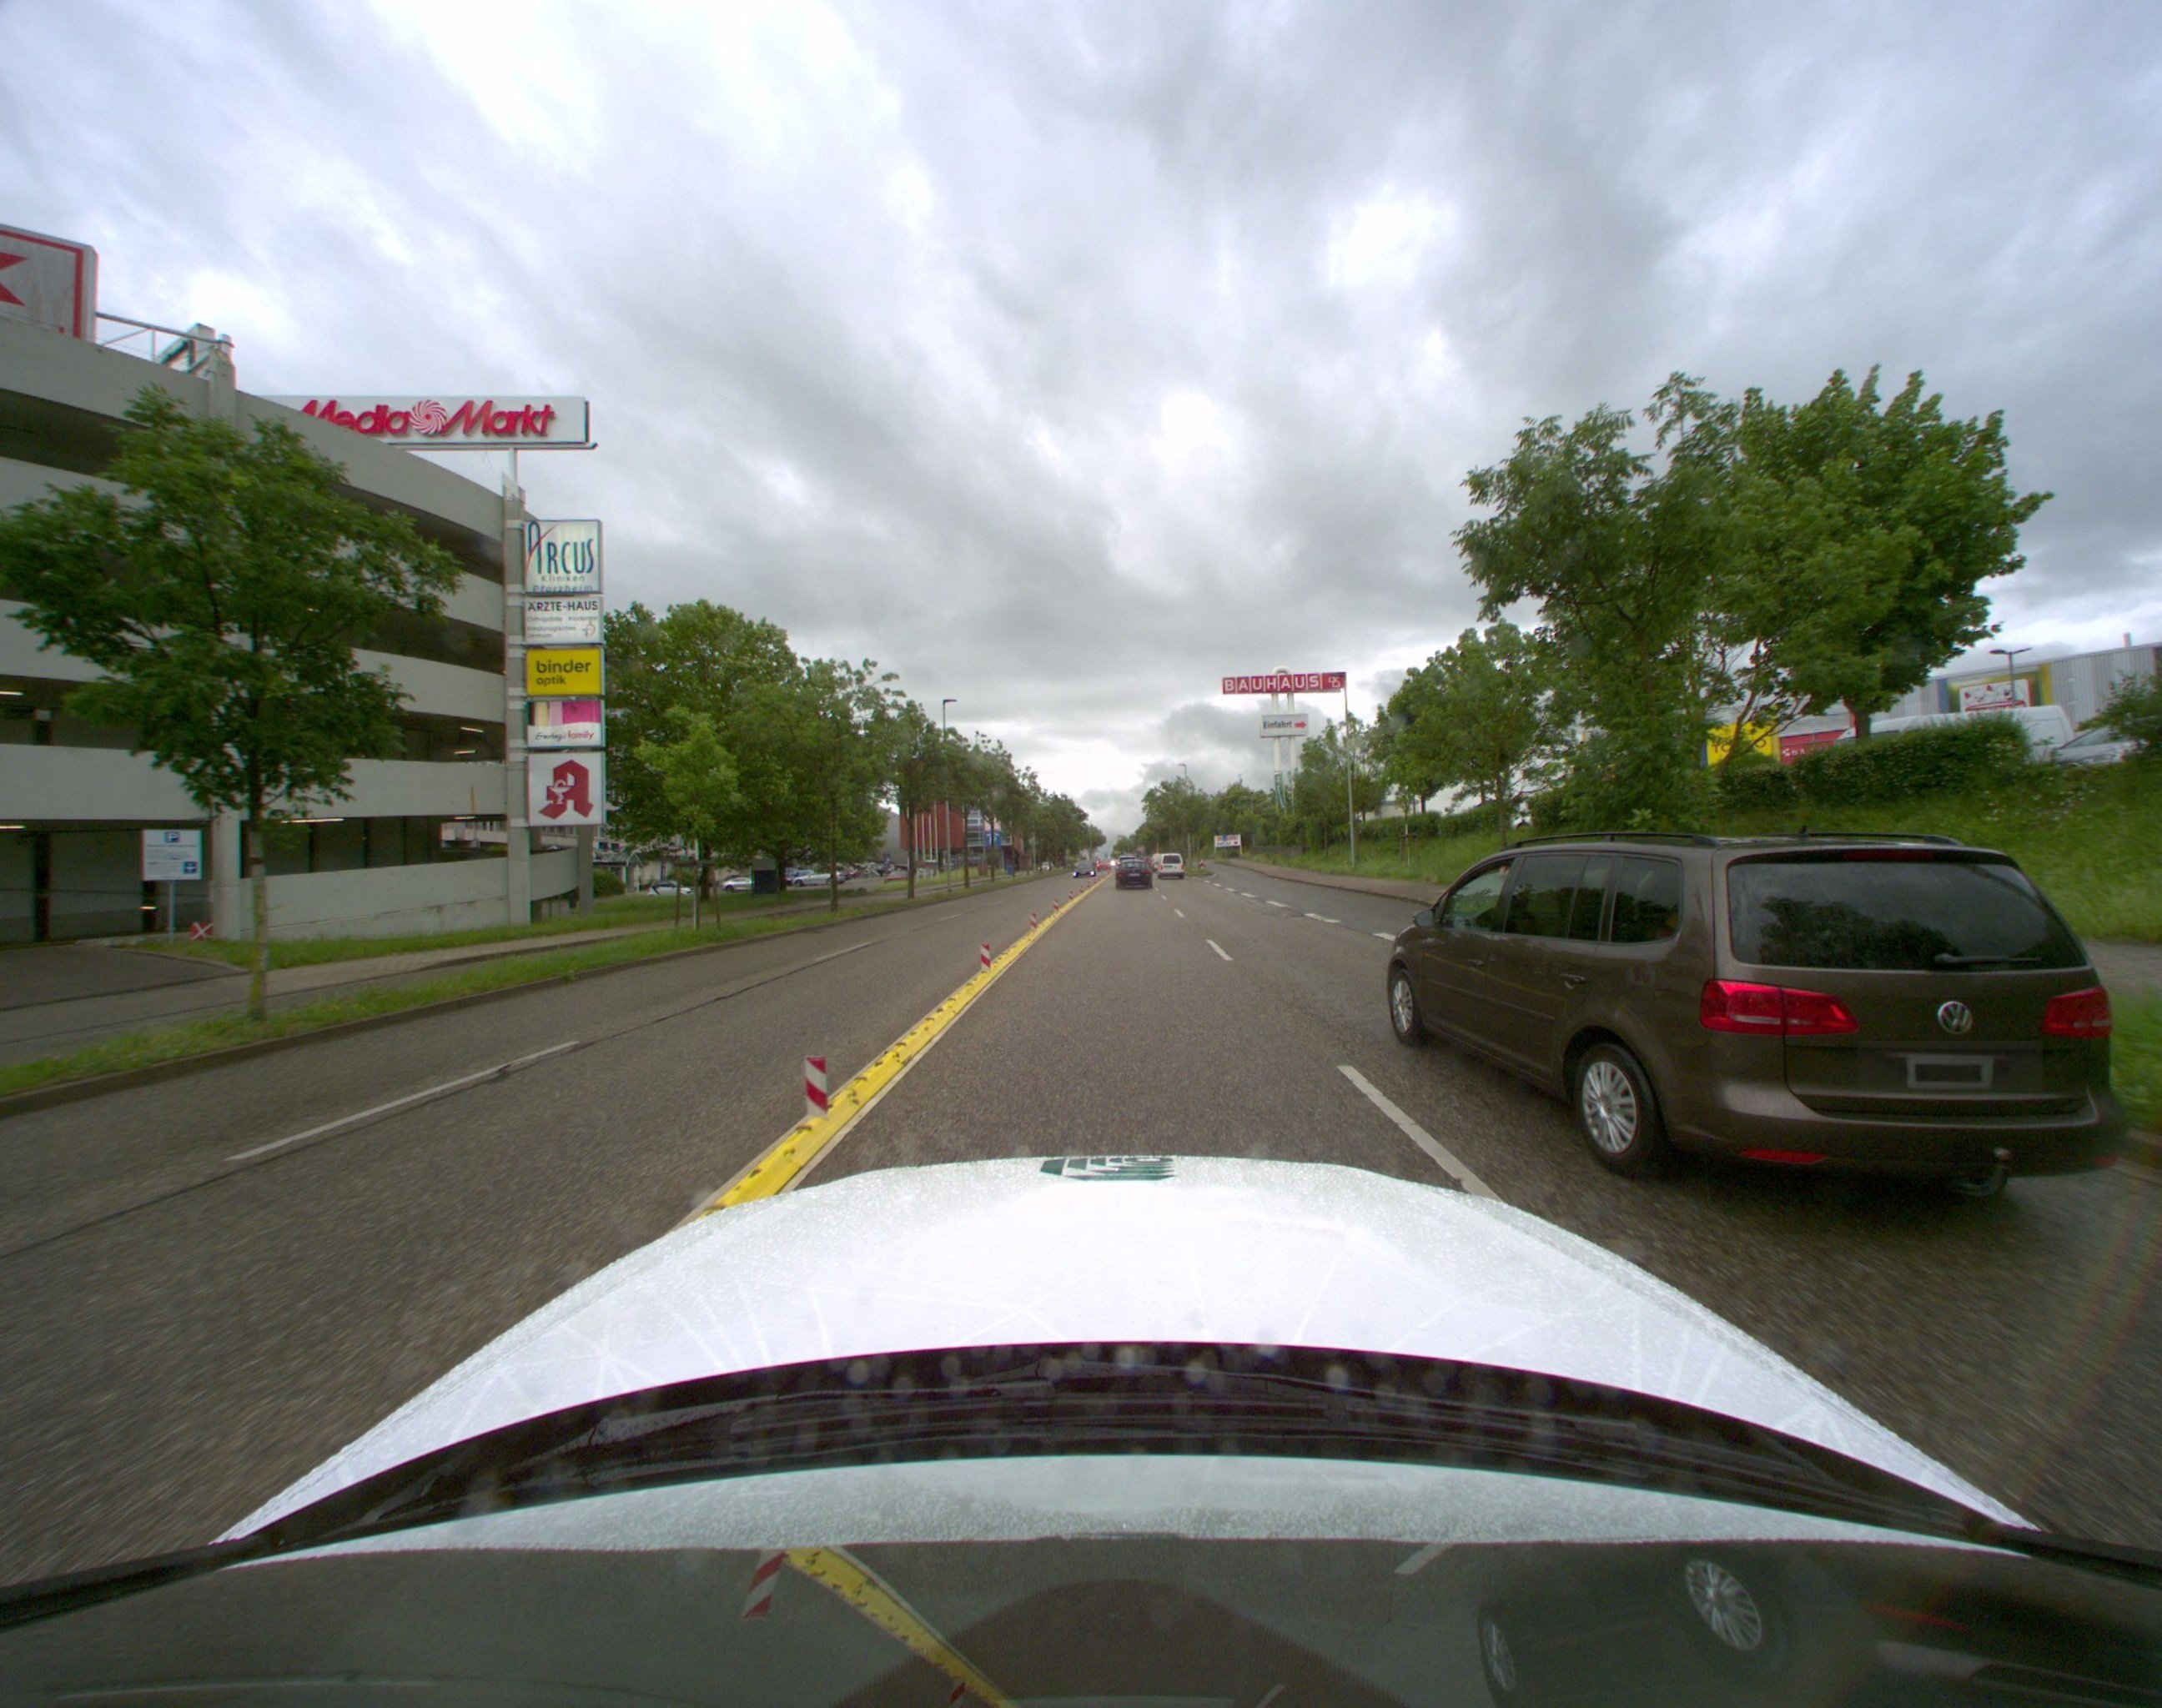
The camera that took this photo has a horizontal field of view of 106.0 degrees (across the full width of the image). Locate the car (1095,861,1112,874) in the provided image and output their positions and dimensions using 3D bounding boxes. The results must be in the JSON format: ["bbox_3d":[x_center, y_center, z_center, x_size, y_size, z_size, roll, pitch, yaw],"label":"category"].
[{"bbox_3d":[2.753,1.682,100.717,1.754,1.425,4.186,-3,0,5],"label":"car"}]

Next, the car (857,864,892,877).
[{"bbox_3d":[-26.544,2.097,104.930,4.102,1.510,1.816,-1,1,-5],"label":"car"}]

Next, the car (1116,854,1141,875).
[{"bbox_3d":[3.611,0.825,61.529,1.786,1.510,4.003,0,-1,3],"label":"car"}]

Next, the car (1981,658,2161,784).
[{"bbox_3d":[22.780,-2.898,17.098,5.598,2.142,2.118,-5,-1,-5],"label":"car"}]

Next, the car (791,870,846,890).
[{"bbox_3d":[-24.900,2.463,77.509,4.591,1.745,1.964,-1,1,-5],"label":"car"}]

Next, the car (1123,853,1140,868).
[{"bbox_3d":[5.355,0.728,86.509,1.787,1.510,4.002,0,-1,2],"label":"car"}]

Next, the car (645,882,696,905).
[{"bbox_3d":[-29.038,2.791,57.678,2.693,1.365,1.606,-4,1,-7],"label":"car"}]

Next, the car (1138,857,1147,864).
[{"bbox_3d":[13.226,1.345,176.317,1.787,1.510,4.001,0,-1,2],"label":"car"}]

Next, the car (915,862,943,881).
[{"bbox_3d":[-16.169,1.814,86.943,2.032,1.762,4.946,-1,1,0],"label":"car"}]

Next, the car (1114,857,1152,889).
[{"bbox_3d":[2.672,0.916,41.561,1.819,1.468,4.004,-2,0,4],"label":"car"}]

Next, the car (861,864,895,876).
[{"bbox_3d":[-26.660,2.106,107.165,4.102,1.510,1.816,-1,1,-5],"label":"car"}]

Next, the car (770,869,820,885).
[{"bbox_3d":[-30.216,2.460,86.149,4.603,1.510,2.022,-1,1,-5],"label":"car"}]

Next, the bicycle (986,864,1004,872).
[{"bbox_3d":[-11.198,1.848,105.657,2.065,0.935,1.096,2,-1,7],"label":"bicycle"}]

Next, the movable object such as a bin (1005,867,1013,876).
[{"bbox_3d":[-9.384,2.259,106.732,0.815,1.079,1.087,2,0,4],"label":"movable object such as a bin"}]

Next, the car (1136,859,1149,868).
[{"bbox_3d":[10.270,1.655,136.266,1.788,1.510,4.000,0,-1,0],"label":"car"}]

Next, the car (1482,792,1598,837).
[{"bbox_3d":[21.743,-1.862,38.690,4.337,1.629,1.926,-5,-1,-3],"label":"car"}]

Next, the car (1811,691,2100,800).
[{"bbox_3d":[23.170,-2.831,21.707,5.598,2.142,2.118,-5,-1,-5],"label":"car"}]

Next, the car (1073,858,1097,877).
[{"bbox_3d":[0.390,1.174,71.696,1.819,1.466,4.620,-3,0,3],"label":"car"}]

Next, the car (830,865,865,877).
[{"bbox_3d":[-31.321,2.263,109.365,4.102,1.510,1.816,-1,1,-5],"label":"car"}]

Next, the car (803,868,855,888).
[{"bbox_3d":[-24.804,2.331,80.179,4.492,1.745,1.897,-1,1,-5],"label":"car"}]

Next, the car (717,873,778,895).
[{"bbox_3d":[-29.473,2.650,72.104,4.597,1.745,1.961,-1,1,-9],"label":"car"}]

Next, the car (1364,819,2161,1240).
[{"bbox_3d":[3.342,0.660,5.188,1.679,1.581,4.219,0,0,1],"label":"car"}]

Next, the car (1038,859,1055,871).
[{"bbox_3d":[-4.927,1.615,116.785,1.859,1.553,4.579,-5,0,3],"label":"car"}]

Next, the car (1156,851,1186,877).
[{"bbox_3d":[6.391,0.700,58.054,1.820,1.759,4.002,0,0,2],"label":"car"}]

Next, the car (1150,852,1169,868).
[{"bbox_3d":[7.813,0.630,81.172,1.786,1.510,4.003,0,-1,3],"label":"car"}]

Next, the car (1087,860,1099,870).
[{"bbox_3d":[2.090,1.982,145.724,1.780,1.614,4.441,-4,-1,4],"label":"car"}]

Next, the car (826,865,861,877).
[{"bbox_3d":[-31.079,2.221,106.687,4.102,1.510,1.816,-1,1,-5],"label":"car"}]

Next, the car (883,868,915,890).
[{"bbox_3d":[-16.110,2.189,72.364,1.928,1.608,4.708,-1,1,-2],"label":"car"}]

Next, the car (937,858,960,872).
[{"bbox_3d":[-17.531,1.436,107.812,2.130,1.773,4.609,-1,1,1],"label":"car"}]

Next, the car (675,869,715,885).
[{"bbox_3d":[-47.596,2.802,100.407,3.979,1.732,1.798,-1,1,-4],"label":"car"}]
